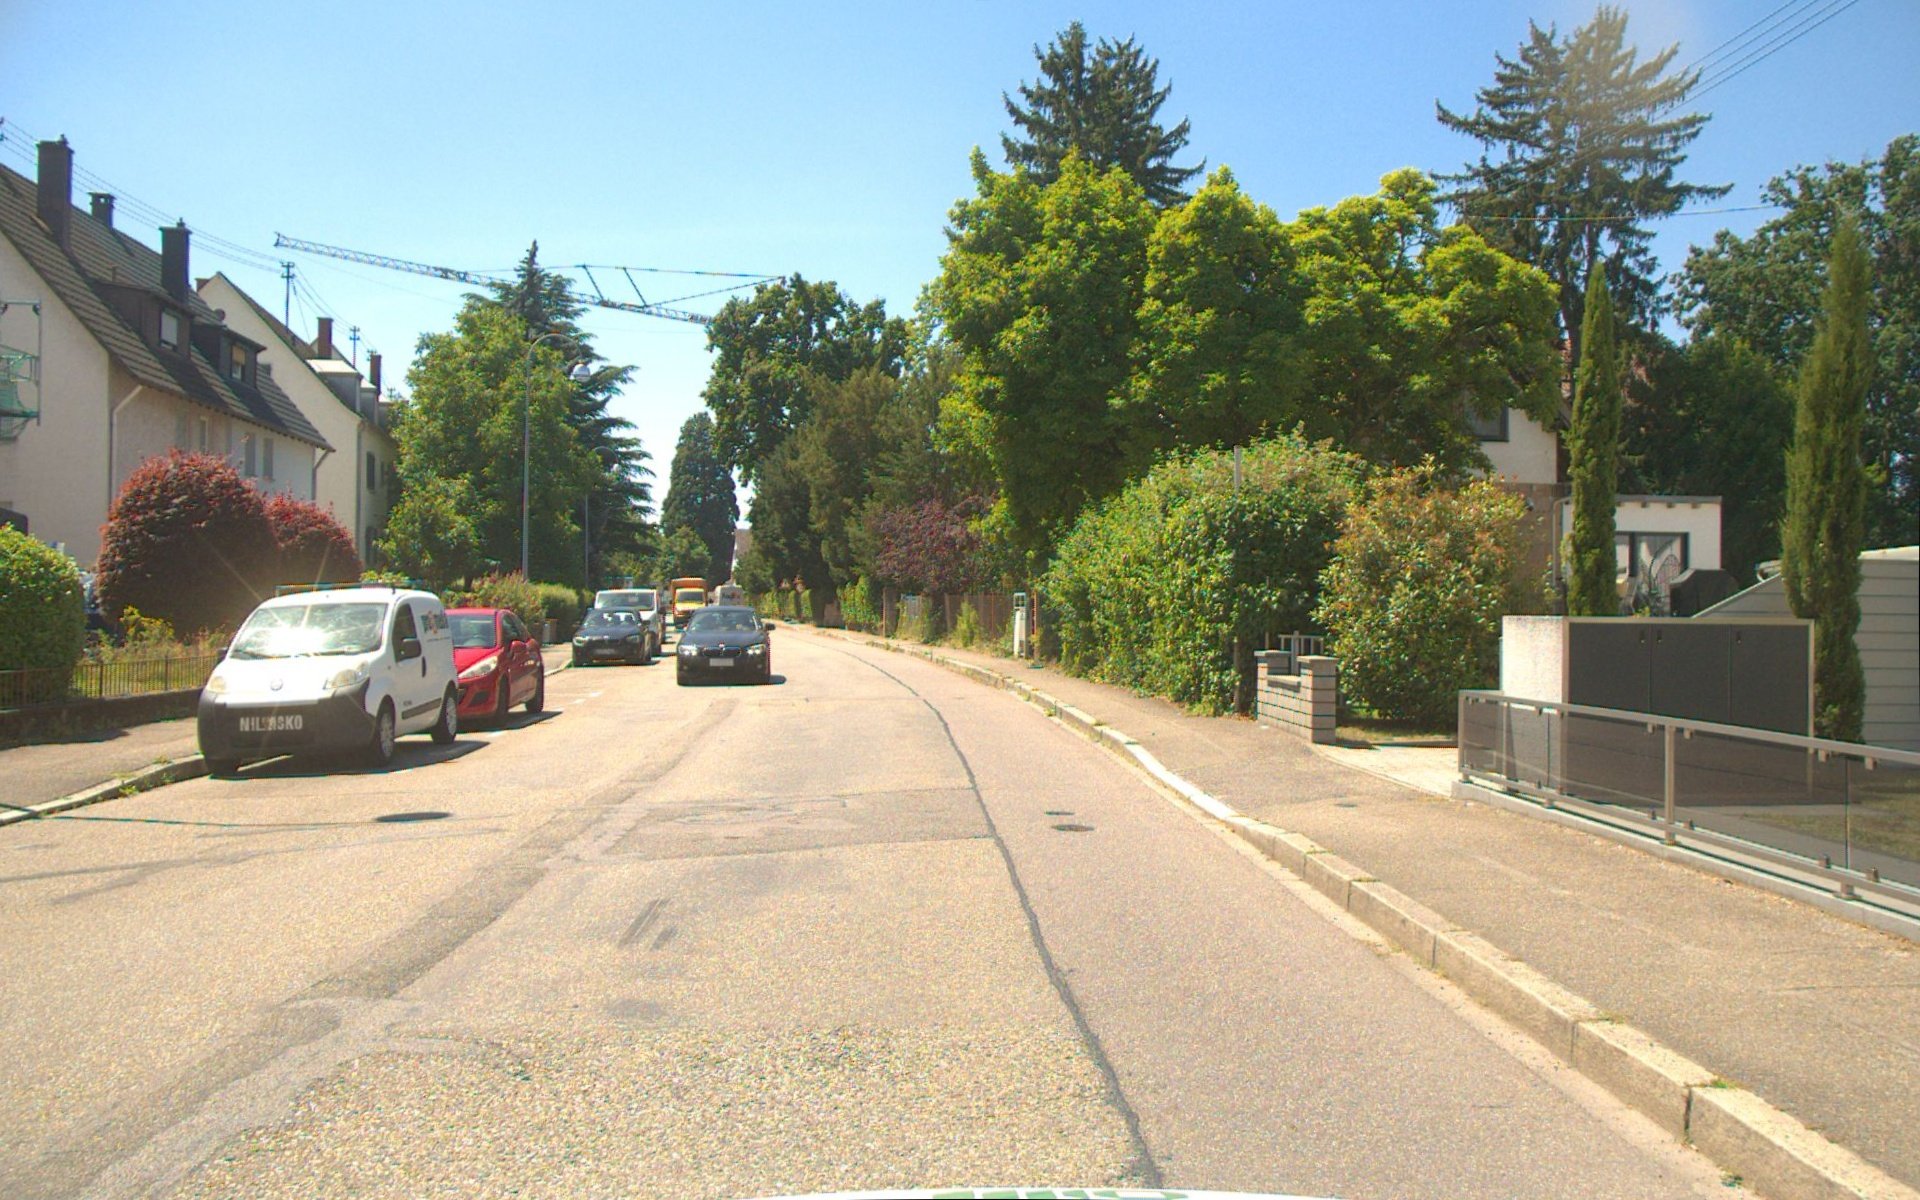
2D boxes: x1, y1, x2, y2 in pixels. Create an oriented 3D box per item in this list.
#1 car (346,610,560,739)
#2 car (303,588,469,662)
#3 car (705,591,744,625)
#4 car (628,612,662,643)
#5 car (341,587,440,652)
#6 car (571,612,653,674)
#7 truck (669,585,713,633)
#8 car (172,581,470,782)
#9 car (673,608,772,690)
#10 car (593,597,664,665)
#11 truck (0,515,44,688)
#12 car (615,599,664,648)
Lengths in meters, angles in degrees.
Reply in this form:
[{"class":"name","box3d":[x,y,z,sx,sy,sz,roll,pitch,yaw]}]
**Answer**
[{"class":"car","box3d":[-6.592,0.908,21.945,1.725,1.503,4.055,-2,0,-3]},{"class":"car","box3d":[-13.911,0.563,40.313,1.608,1.537,4.115,4,2,18]},{"class":"car","box3d":[-17.036,0.587,119.279,2.109,2.356,4.831,-1,0,-16]},{"class":"car","box3d":[-18.497,1.600,97.003,1.819,1.700,4.697,-2,0,-13]},{"class":"car","box3d":[-17.728,0.629,51.669,1.680,1.903,3.999,2,-1,-1]},{"class":"car","box3d":[-8.710,1.044,41.699,1.667,1.408,4.228,-2,0,-8]},{"class":"truck","box3d":[-16.753,0.586,102.868,2.332,2.879,5.640,0,-1,-13]},{"class":"car","box3d":[-6.371,0.751,16.942,1.689,1.766,3.884,-2,0,-3]},{"class":"car","box3d":[-4.526,0.923,31.927,1.698,1.442,3.995,-1,-1,-6]},{"class":"car","box3d":[-9.830,0.913,49.332,1.851,1.914,4.970,0,-1,-9]},{"class":"truck","box3d":[-12.833,0.019,19.014,3.694,1.972,1.545,0,0,-5]},{"class":"car","box3d":[-12.150,0.875,62.919,1.726,1.757,4.446,-1,0,-10]}]
